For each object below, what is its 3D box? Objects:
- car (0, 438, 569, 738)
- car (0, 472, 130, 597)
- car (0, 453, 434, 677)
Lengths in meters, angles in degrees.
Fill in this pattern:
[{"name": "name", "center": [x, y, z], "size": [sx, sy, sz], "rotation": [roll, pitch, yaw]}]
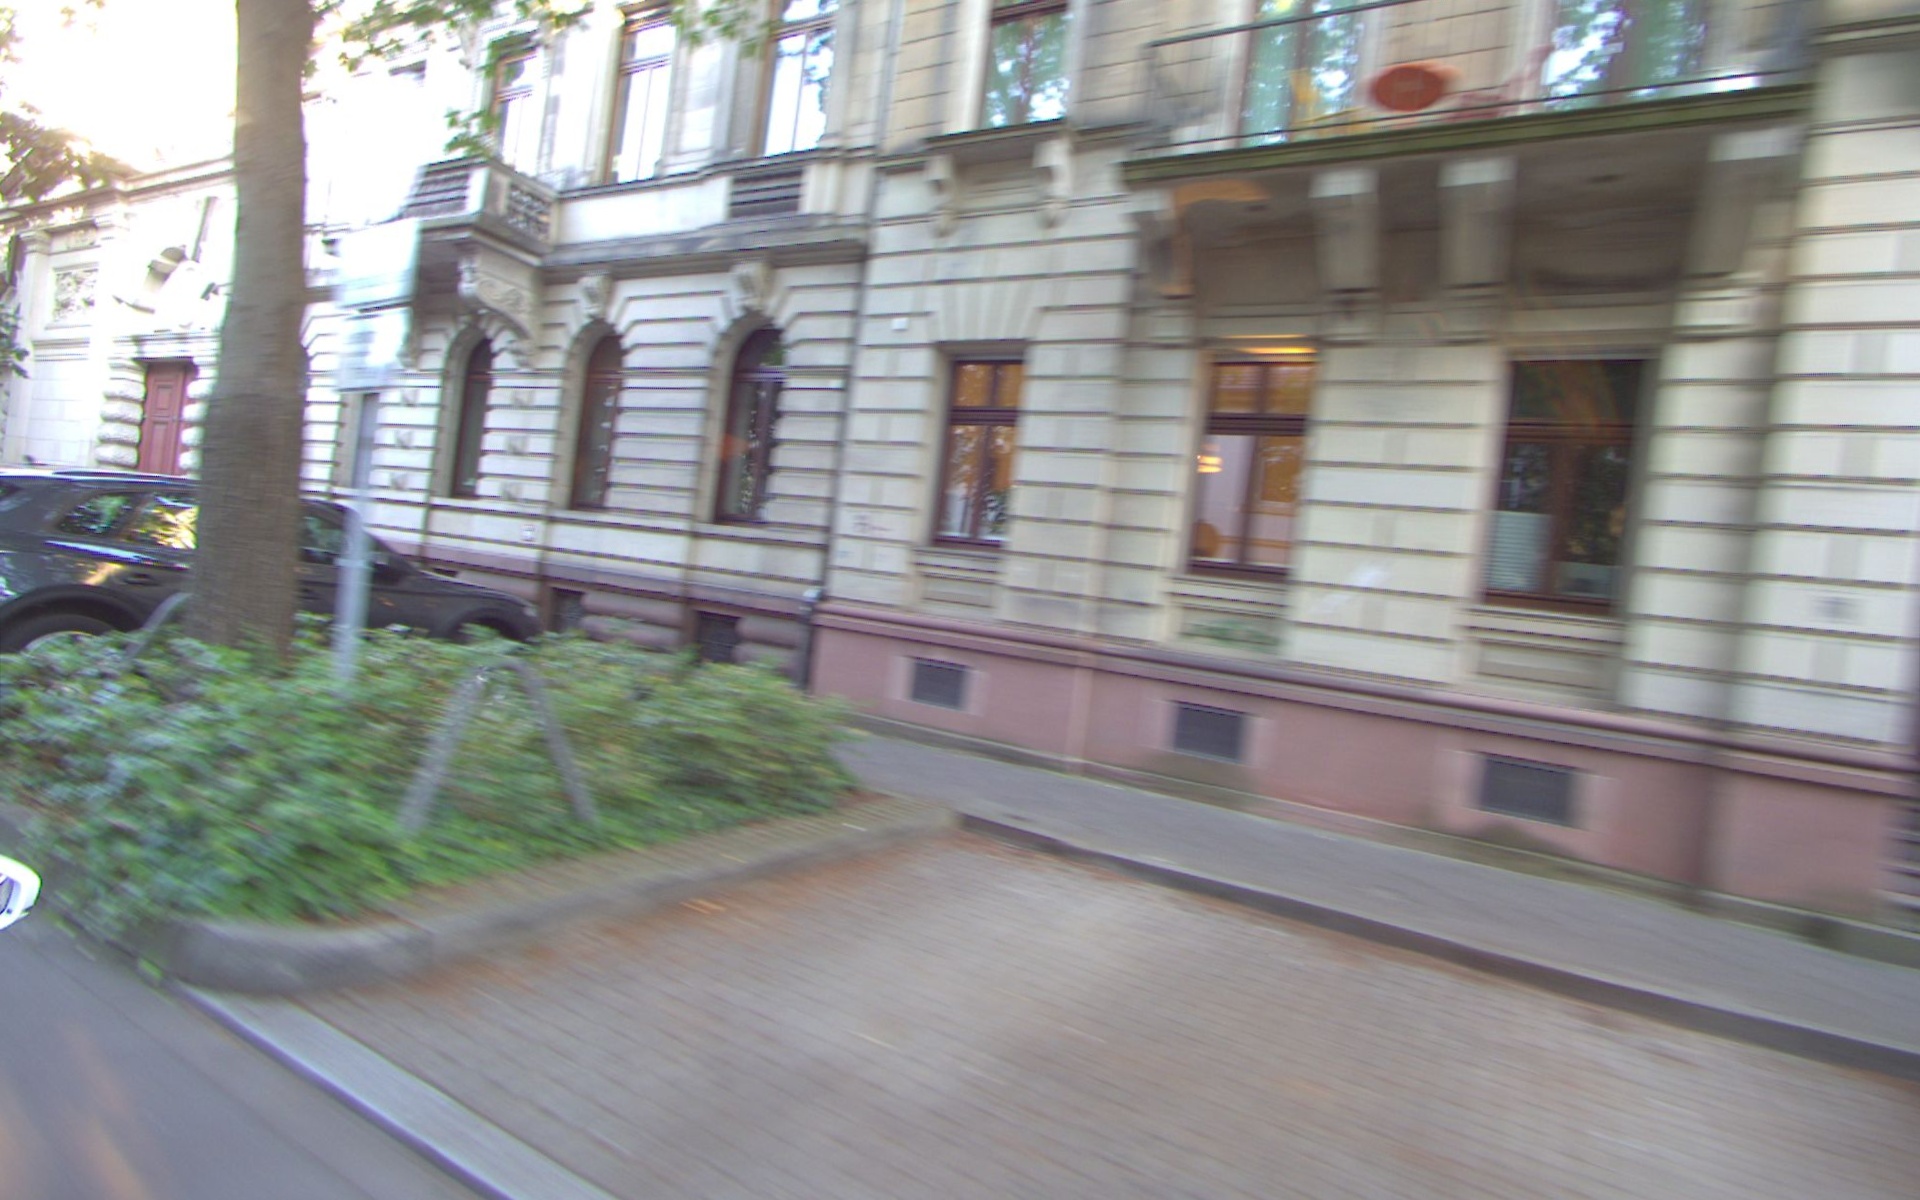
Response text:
[{"name": "car", "center": [-5.571, -0.061, 7.741], "size": [1.935, 1.739, 4.445], "rotation": [7, 0, 30]}, {"name": "car", "center": [-13.168, -0.958, 12.313], "size": [1.823, 1.500, 4.226], "rotation": [7, 2, 30]}, {"name": "car", "center": [-7.416, -0.265, 9.395], "size": [1.735, 1.707, 4.014], "rotation": [8, 0, 30]}]
